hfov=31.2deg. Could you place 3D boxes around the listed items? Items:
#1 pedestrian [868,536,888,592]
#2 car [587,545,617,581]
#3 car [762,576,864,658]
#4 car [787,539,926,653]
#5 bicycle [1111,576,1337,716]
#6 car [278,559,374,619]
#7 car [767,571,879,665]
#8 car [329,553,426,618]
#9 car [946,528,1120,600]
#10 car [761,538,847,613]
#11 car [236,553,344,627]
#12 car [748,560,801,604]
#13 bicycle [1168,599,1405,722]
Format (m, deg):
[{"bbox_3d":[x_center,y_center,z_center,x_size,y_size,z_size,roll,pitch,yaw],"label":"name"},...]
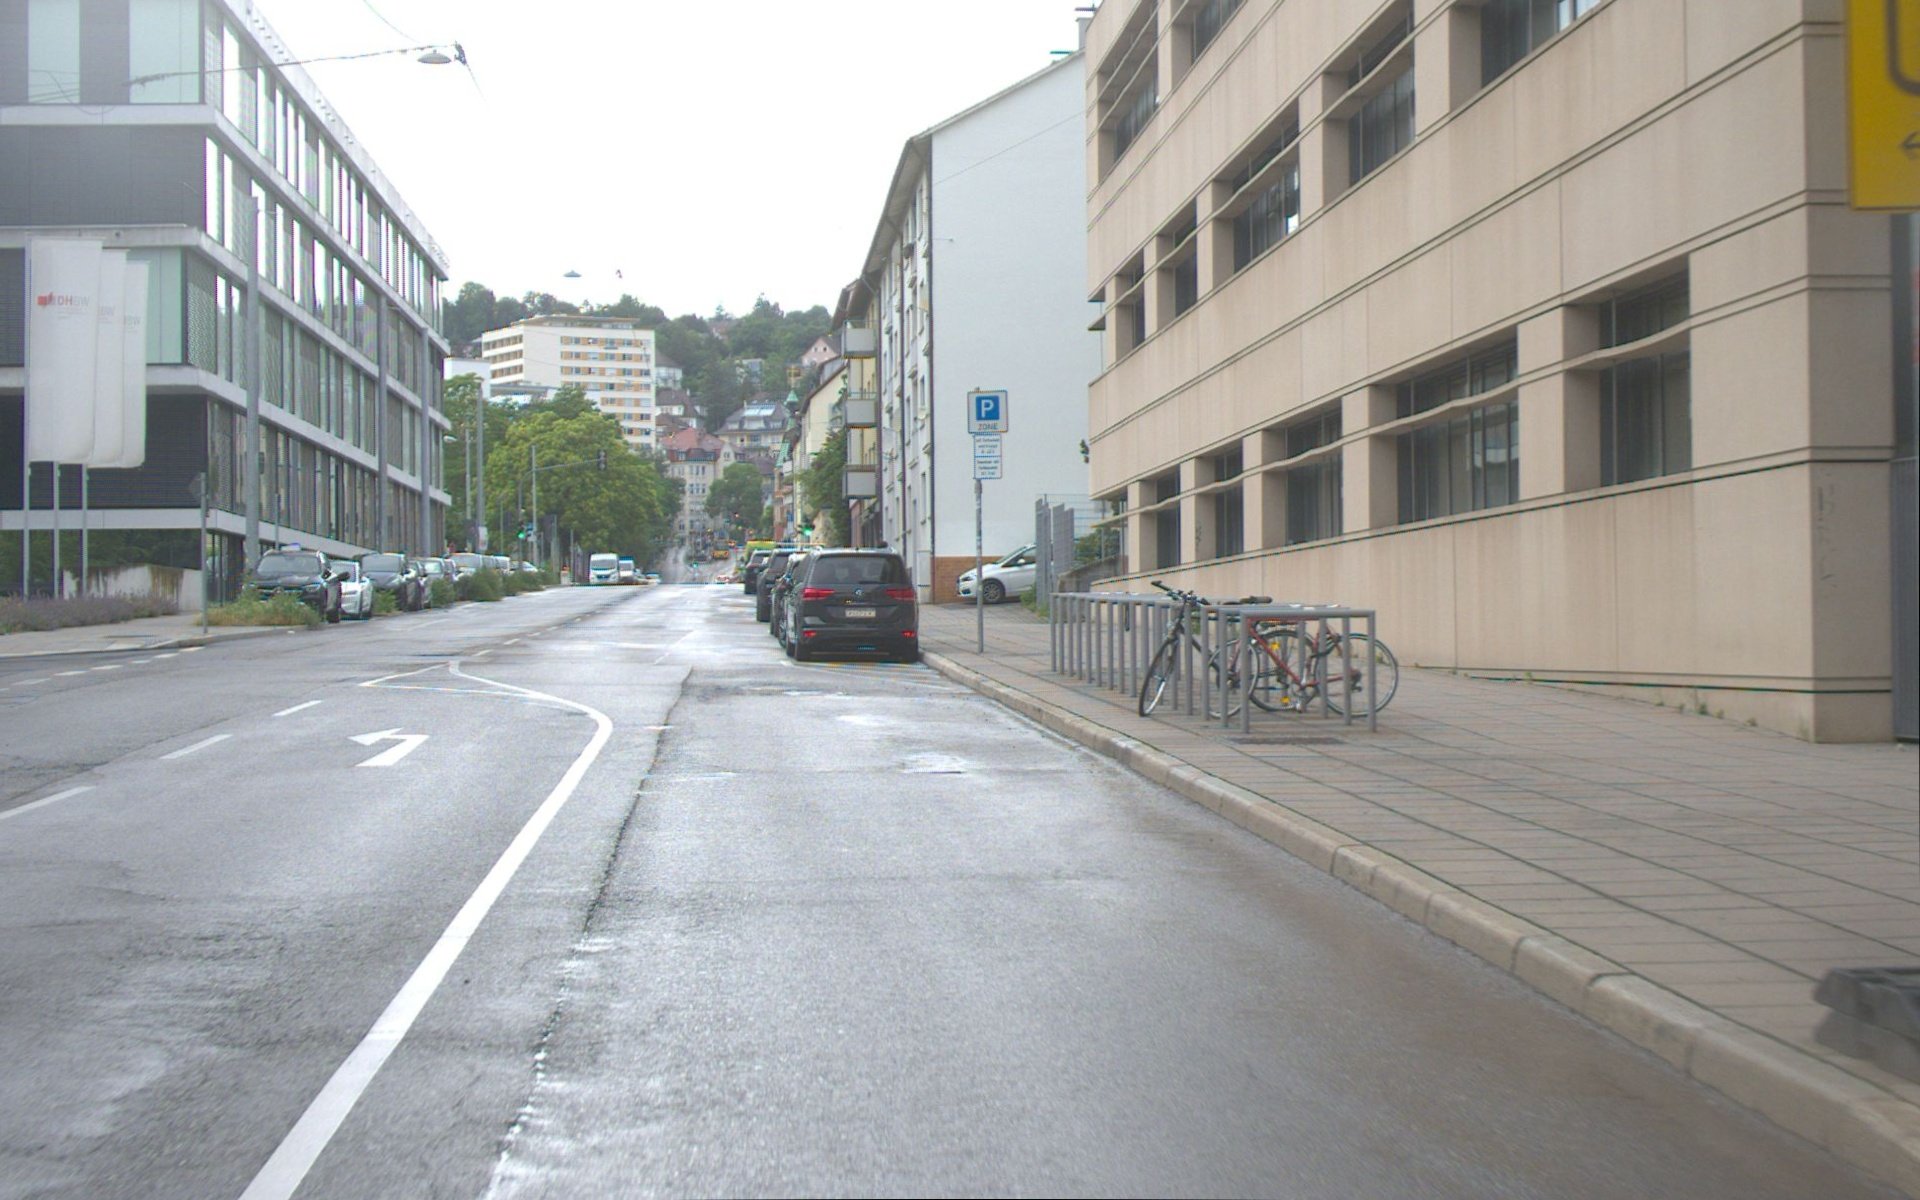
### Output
[{"bbox_3d":[-2.743,-1.192,115.281,0.639,1.864,0.538,1,0,-2],"label":"pedestrian"},{"bbox_3d":[-25.463,-2.639,244.669,2.104,2.538,4.751,1,0,-6],"label":"car"},{"bbox_3d":[-2.869,0.303,66.456,1.743,1.528,4.320,1,0,-5],"label":"car"},{"bbox_3d":[-1.575,-0.075,50.812,1.770,1.598,4.395,1,0,-5],"label":"car"},{"bbox_3d":[2.158,0.368,28.176,1.729,1.115,0.660,0,0,-9],"label":"bicycle"},{"bbox_3d":[-15.604,-0.276,84.756,1.821,1.414,4.403,1,0,-4],"label":"car"},{"bbox_3d":[-2.381,0.304,59.040,1.725,1.507,4.058,2,0,-4],"label":"car"},{"bbox_3d":[-16.043,-0.406,94.893,1.962,1.744,4.942,1,0,-2],"label":"car"},{"bbox_3d":[1.952,-0.967,92.516,4.437,1.707,1.905,-3,0,-4],"label":"car"},{"bbox_3d":[-3.802,-0.601,83.337,1.935,1.744,4.797,1,0,-4],"label":"car"},{"bbox_3d":[-15.180,-0.226,78.065,1.849,1.612,4.491,1,0,-4],"label":"car"},{"bbox_3d":[-6.362,-0.613,117.636,1.706,1.449,3.985,1,0,-4],"label":"car"},{"bbox_3d":[2.578,0.473,27.220,1.758,0.950,0.660,0,0,-7],"label":"bicycle"}]
